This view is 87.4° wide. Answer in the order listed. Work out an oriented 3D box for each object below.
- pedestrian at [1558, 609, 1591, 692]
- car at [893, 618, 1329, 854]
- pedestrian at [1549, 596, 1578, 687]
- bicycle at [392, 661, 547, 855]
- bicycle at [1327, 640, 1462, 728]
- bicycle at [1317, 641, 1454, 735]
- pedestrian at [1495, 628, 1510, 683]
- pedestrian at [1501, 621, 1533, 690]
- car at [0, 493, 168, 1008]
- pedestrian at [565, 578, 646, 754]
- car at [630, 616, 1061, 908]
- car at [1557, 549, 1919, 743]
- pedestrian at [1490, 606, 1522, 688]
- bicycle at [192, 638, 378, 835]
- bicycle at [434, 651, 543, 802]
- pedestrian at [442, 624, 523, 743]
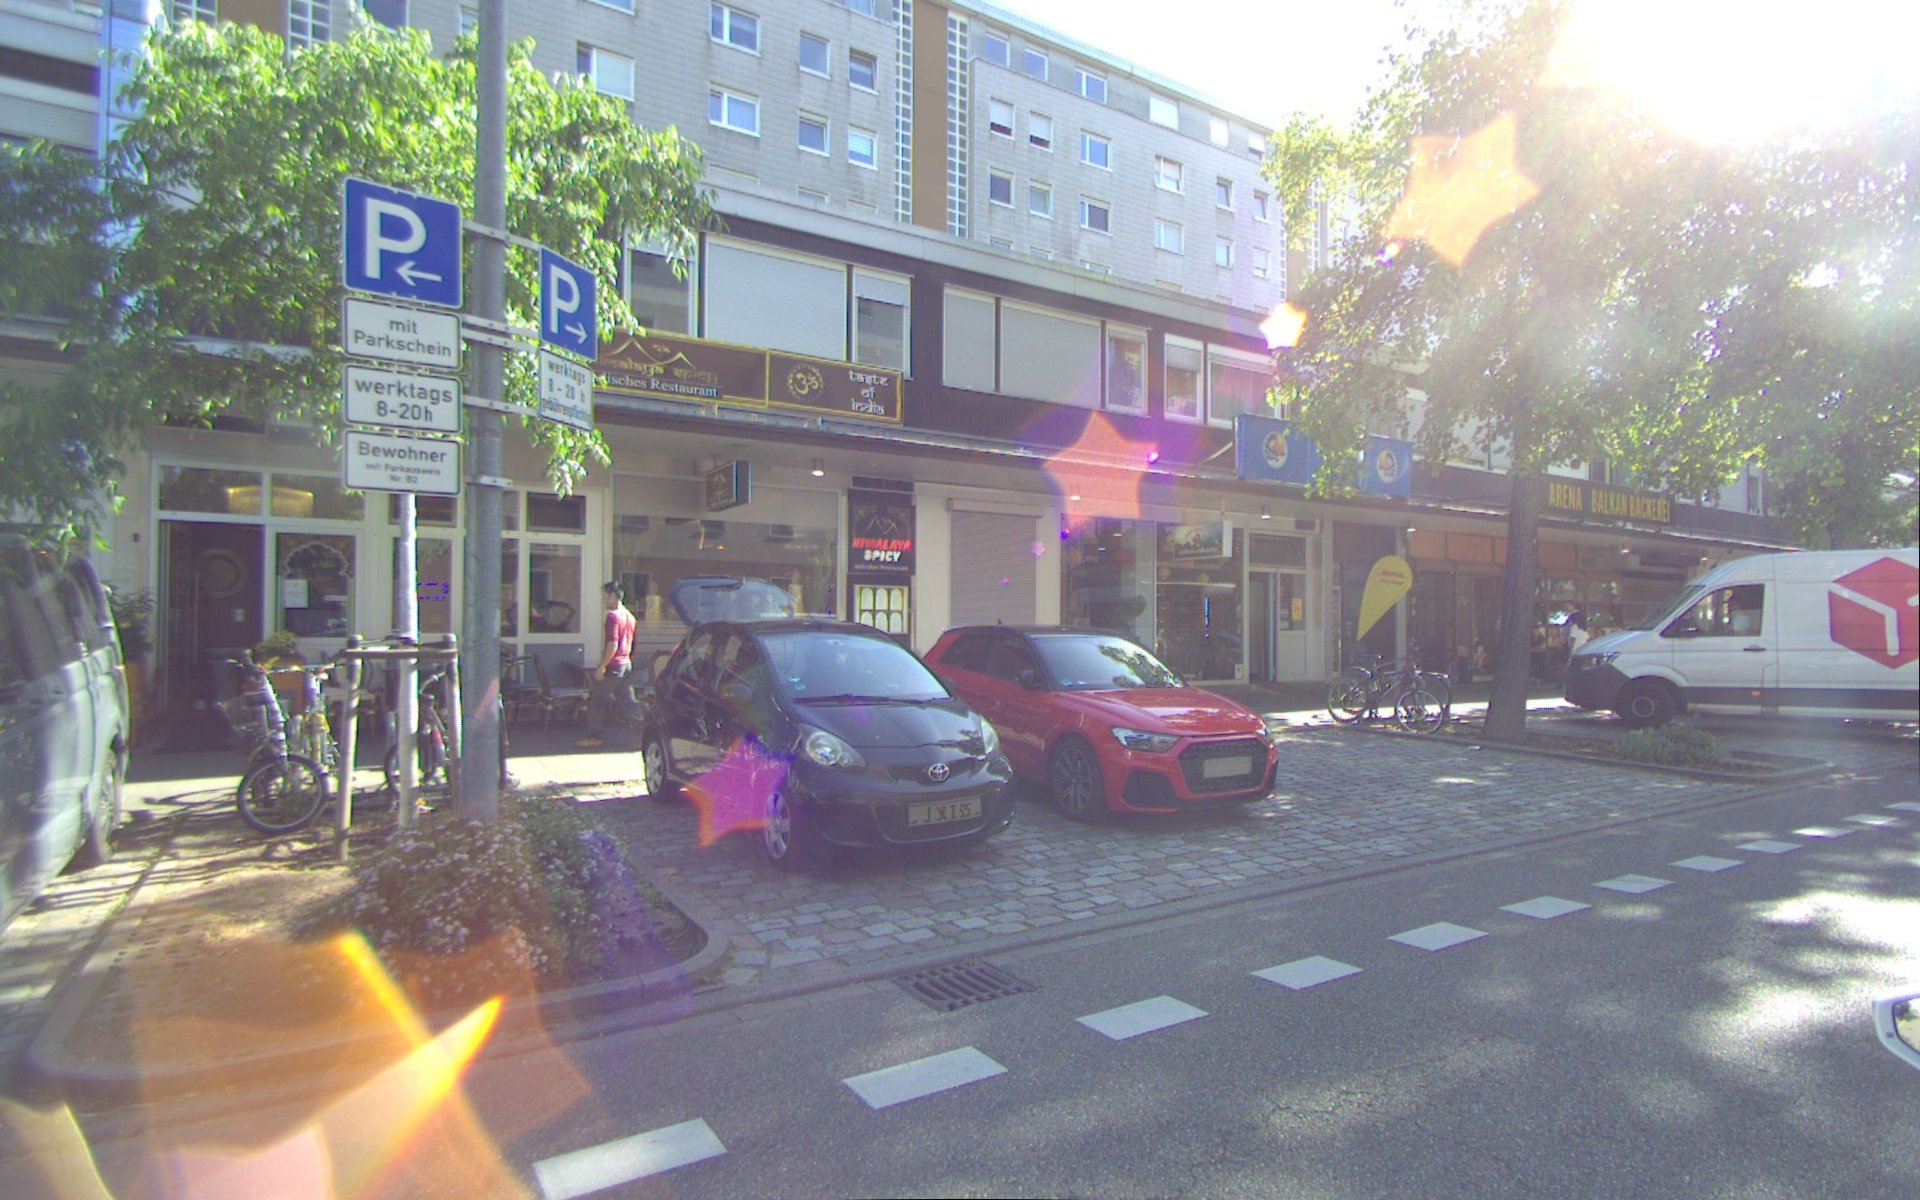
[{"bbox_3d":[13.032,1.065,21.298,0.496,1.728,0.388,2,0,-31],"label":"pedestrian"},{"bbox_3d":[1.040,0.940,8.729,1.690,1.470,3.899,1,0,-30],"label":"car"},{"bbox_3d":[13.125,0.904,21.855,0.357,1.960,0.388,1,0,-30],"label":"pedestrian"},{"bbox_3d":[-3.335,0.970,6.745,0.609,1.053,1.849,1,-2,-36],"label":"bicycle"},{"bbox_3d":[6.382,1.199,14.871,0.579,1.121,1.860,1,0,-28],"label":"bicycle"},{"bbox_3d":[5.837,1.174,13.881,0.615,1.132,1.712,1,0,-28],"label":"bicycle"},{"bbox_3d":[12.738,1.296,23.570,0.212,1.261,0.211,1,0,-31],"label":"pedestrian"},{"bbox_3d":[12.147,1.198,21.923,0.416,1.492,0.465,1,-2,-34],"label":"pedestrian"},{"bbox_3d":[-4.879,0.559,4.106,1.851,1.964,5.006,1,0,-30],"label":"car"},{"bbox_3d":[-3.589,0.658,10.216,0.622,1.735,0.581,0,-1,-4],"label":"pedestrian"},{"bbox_3d":[-1.055,0.898,7.292,1.597,1.470,3.642,1,0,-34],"label":"car"},{"bbox_3d":[12.319,0.623,14.191,6.479,2.506,1.998,0,-1,25],"label":"car"},{"bbox_3d":[12.233,1.054,22.518,0.423,1.805,0.481,1,-2,-34],"label":"pedestrian"},{"bbox_3d":[-4.812,0.876,7.326,0.790,1.183,2.230,1,-2,-26],"label":"bicycle"},{"bbox_3d":[-3.910,0.969,8.259,0.608,1.053,1.853,1,-2,-31],"label":"bicycle"},{"bbox_3d":[-5.305,0.896,11.149,0.738,1.262,0.646,1,-1,-32],"label":"pedestrian"}]
